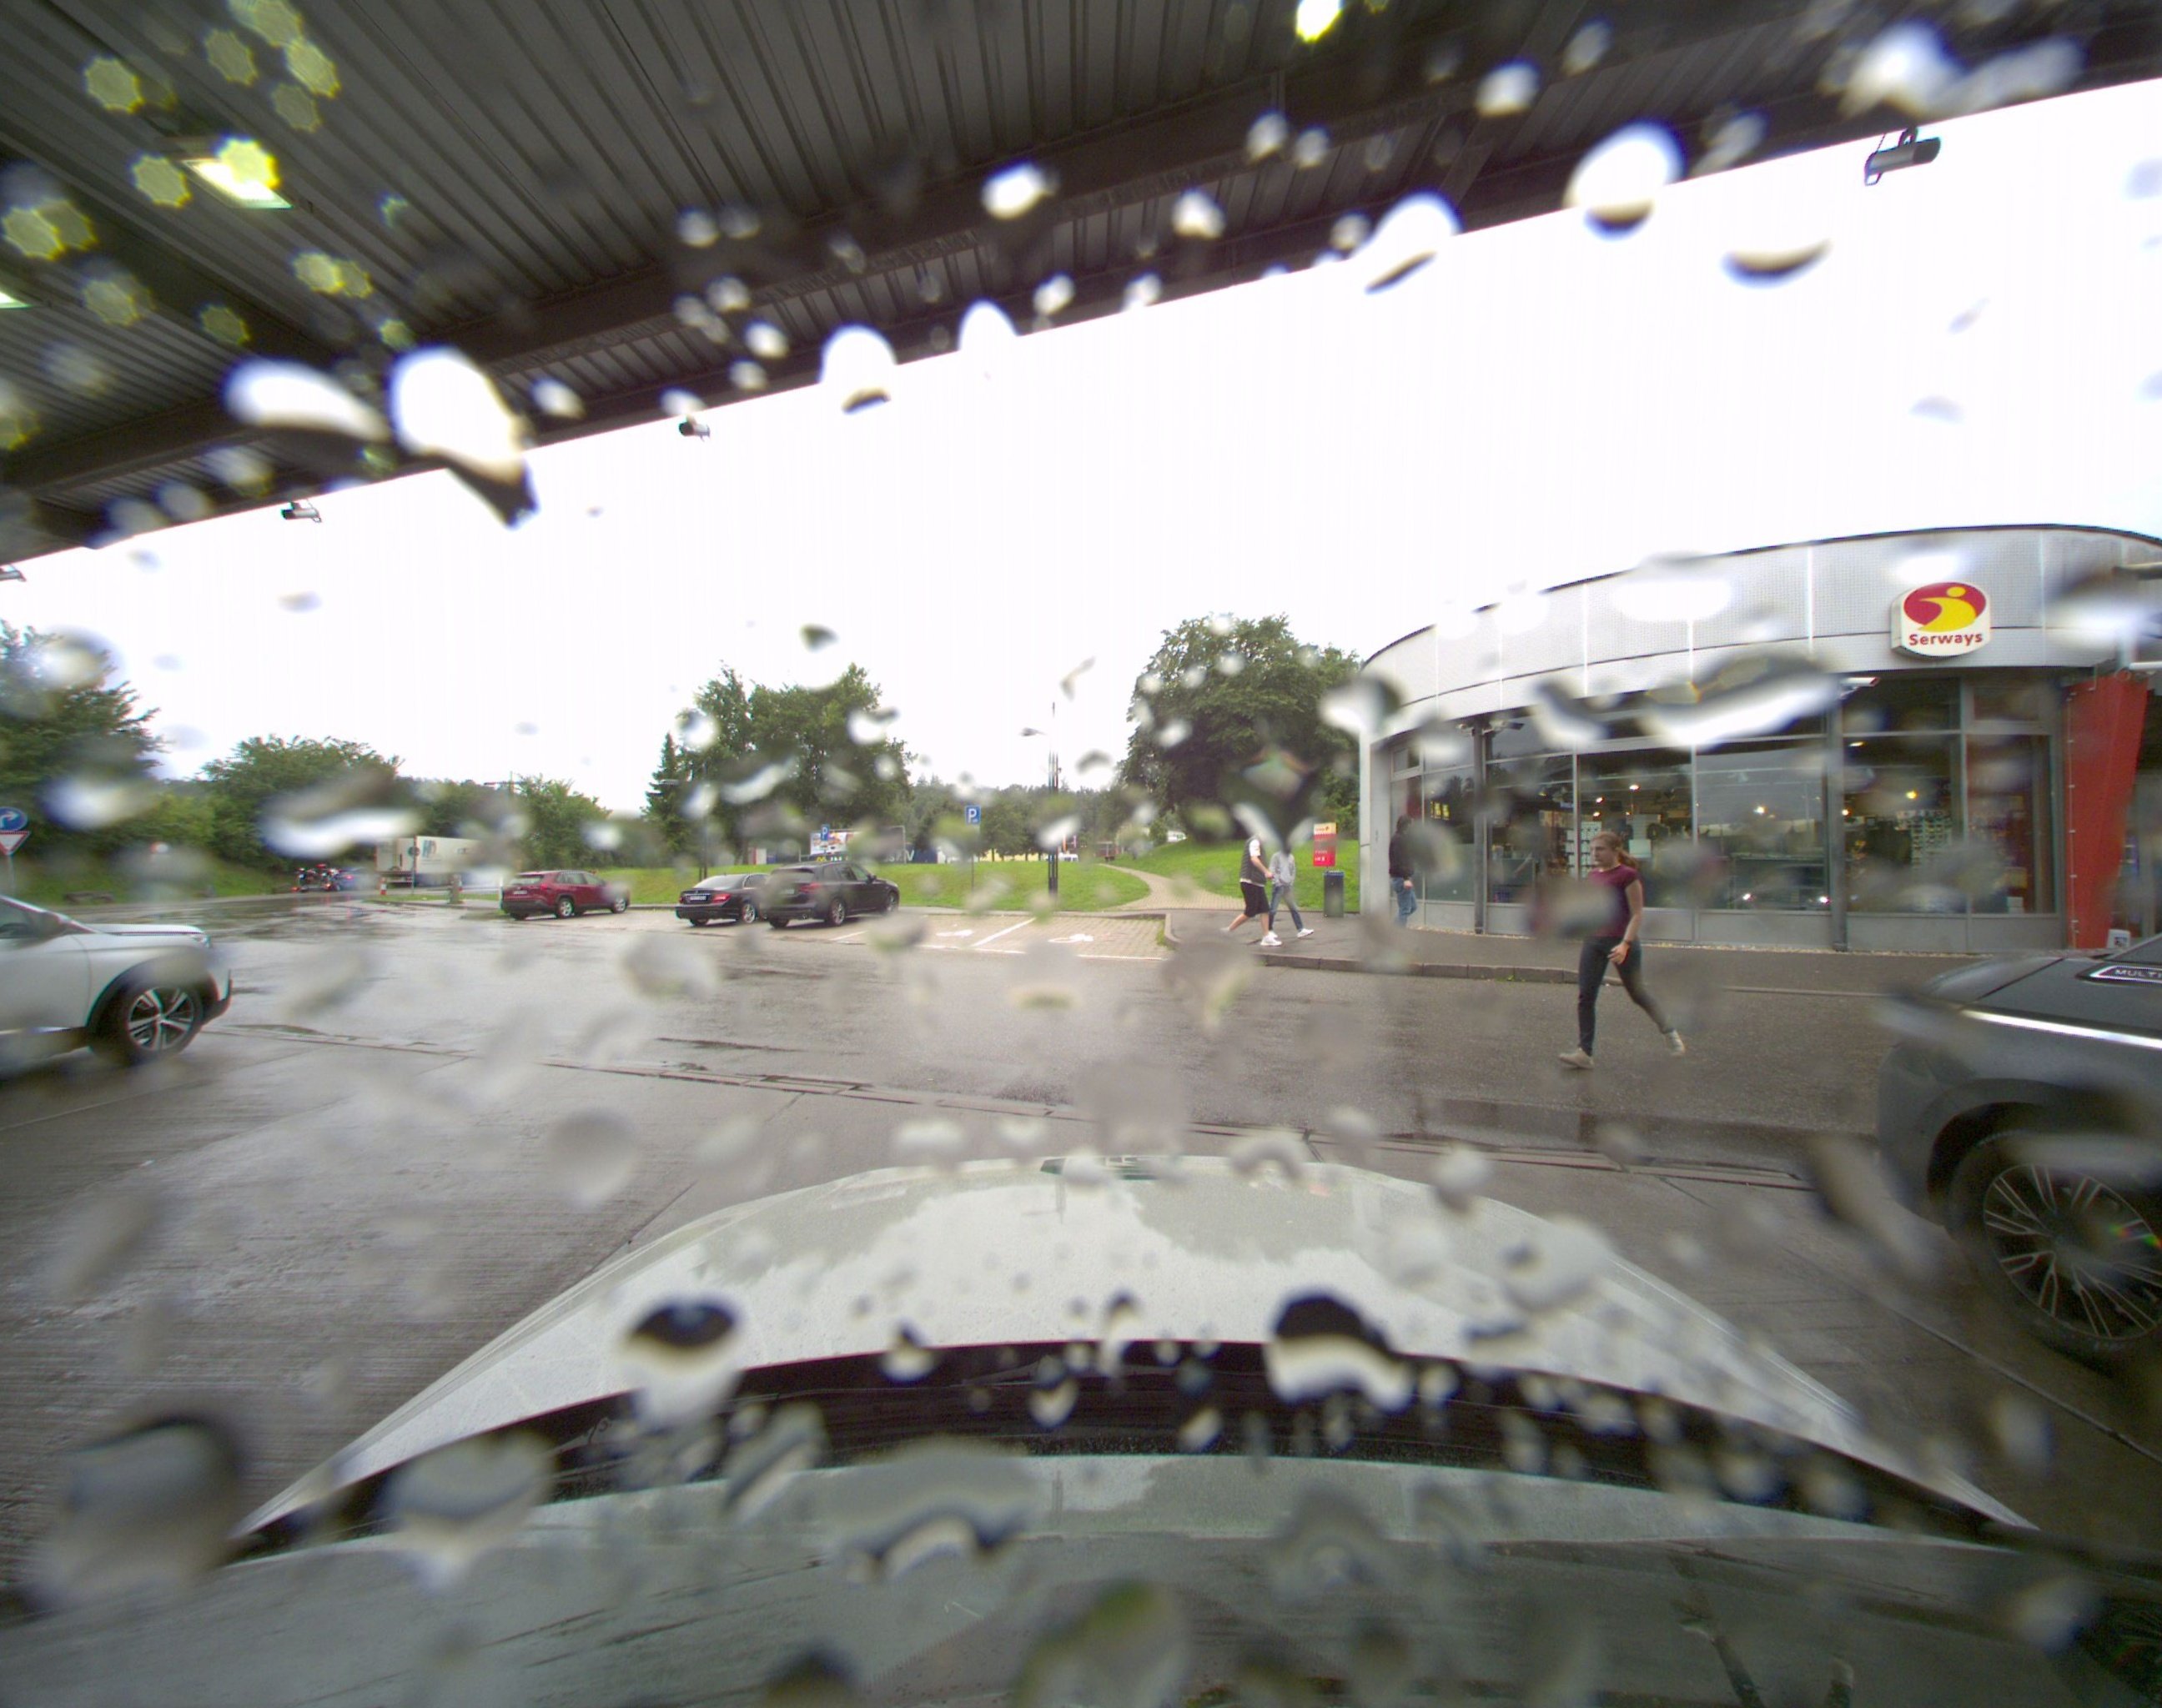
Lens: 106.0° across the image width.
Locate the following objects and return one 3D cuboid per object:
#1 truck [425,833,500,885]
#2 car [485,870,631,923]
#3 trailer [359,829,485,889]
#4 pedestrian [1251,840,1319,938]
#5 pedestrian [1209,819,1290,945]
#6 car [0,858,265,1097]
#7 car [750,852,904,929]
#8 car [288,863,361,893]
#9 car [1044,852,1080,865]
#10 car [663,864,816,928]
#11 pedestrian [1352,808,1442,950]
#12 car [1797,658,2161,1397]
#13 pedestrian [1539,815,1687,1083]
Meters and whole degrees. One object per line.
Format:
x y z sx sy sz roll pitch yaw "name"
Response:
-57.096 0.492 75.445 3.467 4.557 6.694 0 -1 -18 "truck"
-18.152 1.413 28.540 1.873 1.596 4.364 -2 0 8 "car"
-54.874 0.419 68.504 3.466 4.557 13.827 0 -1 -18 "trailer"
3.361 0.556 13.410 0.880 1.550 0.665 -2 0 31 "pedestrian"
2.587 0.413 12.472 0.963 1.848 0.778 -2 0 30 "pedestrian"
-7.980 0.821 4.611 1.810 1.565 4.999 0 0 -2 "car"
-6.611 0.885 21.757 1.871 1.828 4.429 -2 0 13 "car"
-49.202 1.512 53.079 1.934 1.838 4.361 -1 0 -20 "car"
-3.159 0.799 134.093 5.376 2.013 2.468 -1 0 21 "car"
-9.612 1.135 23.314 1.871 1.565 4.200 -2 0 13 "car"
4.392 0.333 11.296 0.989 1.864 0.804 -2 0 30 "pedestrian"
3.718 0.450 1.244 1.809 1.948 4.002 -1 0 2 "car"
3.835 0.621 5.857 0.786 1.734 0.845 -2 -1 37 "pedestrian"
